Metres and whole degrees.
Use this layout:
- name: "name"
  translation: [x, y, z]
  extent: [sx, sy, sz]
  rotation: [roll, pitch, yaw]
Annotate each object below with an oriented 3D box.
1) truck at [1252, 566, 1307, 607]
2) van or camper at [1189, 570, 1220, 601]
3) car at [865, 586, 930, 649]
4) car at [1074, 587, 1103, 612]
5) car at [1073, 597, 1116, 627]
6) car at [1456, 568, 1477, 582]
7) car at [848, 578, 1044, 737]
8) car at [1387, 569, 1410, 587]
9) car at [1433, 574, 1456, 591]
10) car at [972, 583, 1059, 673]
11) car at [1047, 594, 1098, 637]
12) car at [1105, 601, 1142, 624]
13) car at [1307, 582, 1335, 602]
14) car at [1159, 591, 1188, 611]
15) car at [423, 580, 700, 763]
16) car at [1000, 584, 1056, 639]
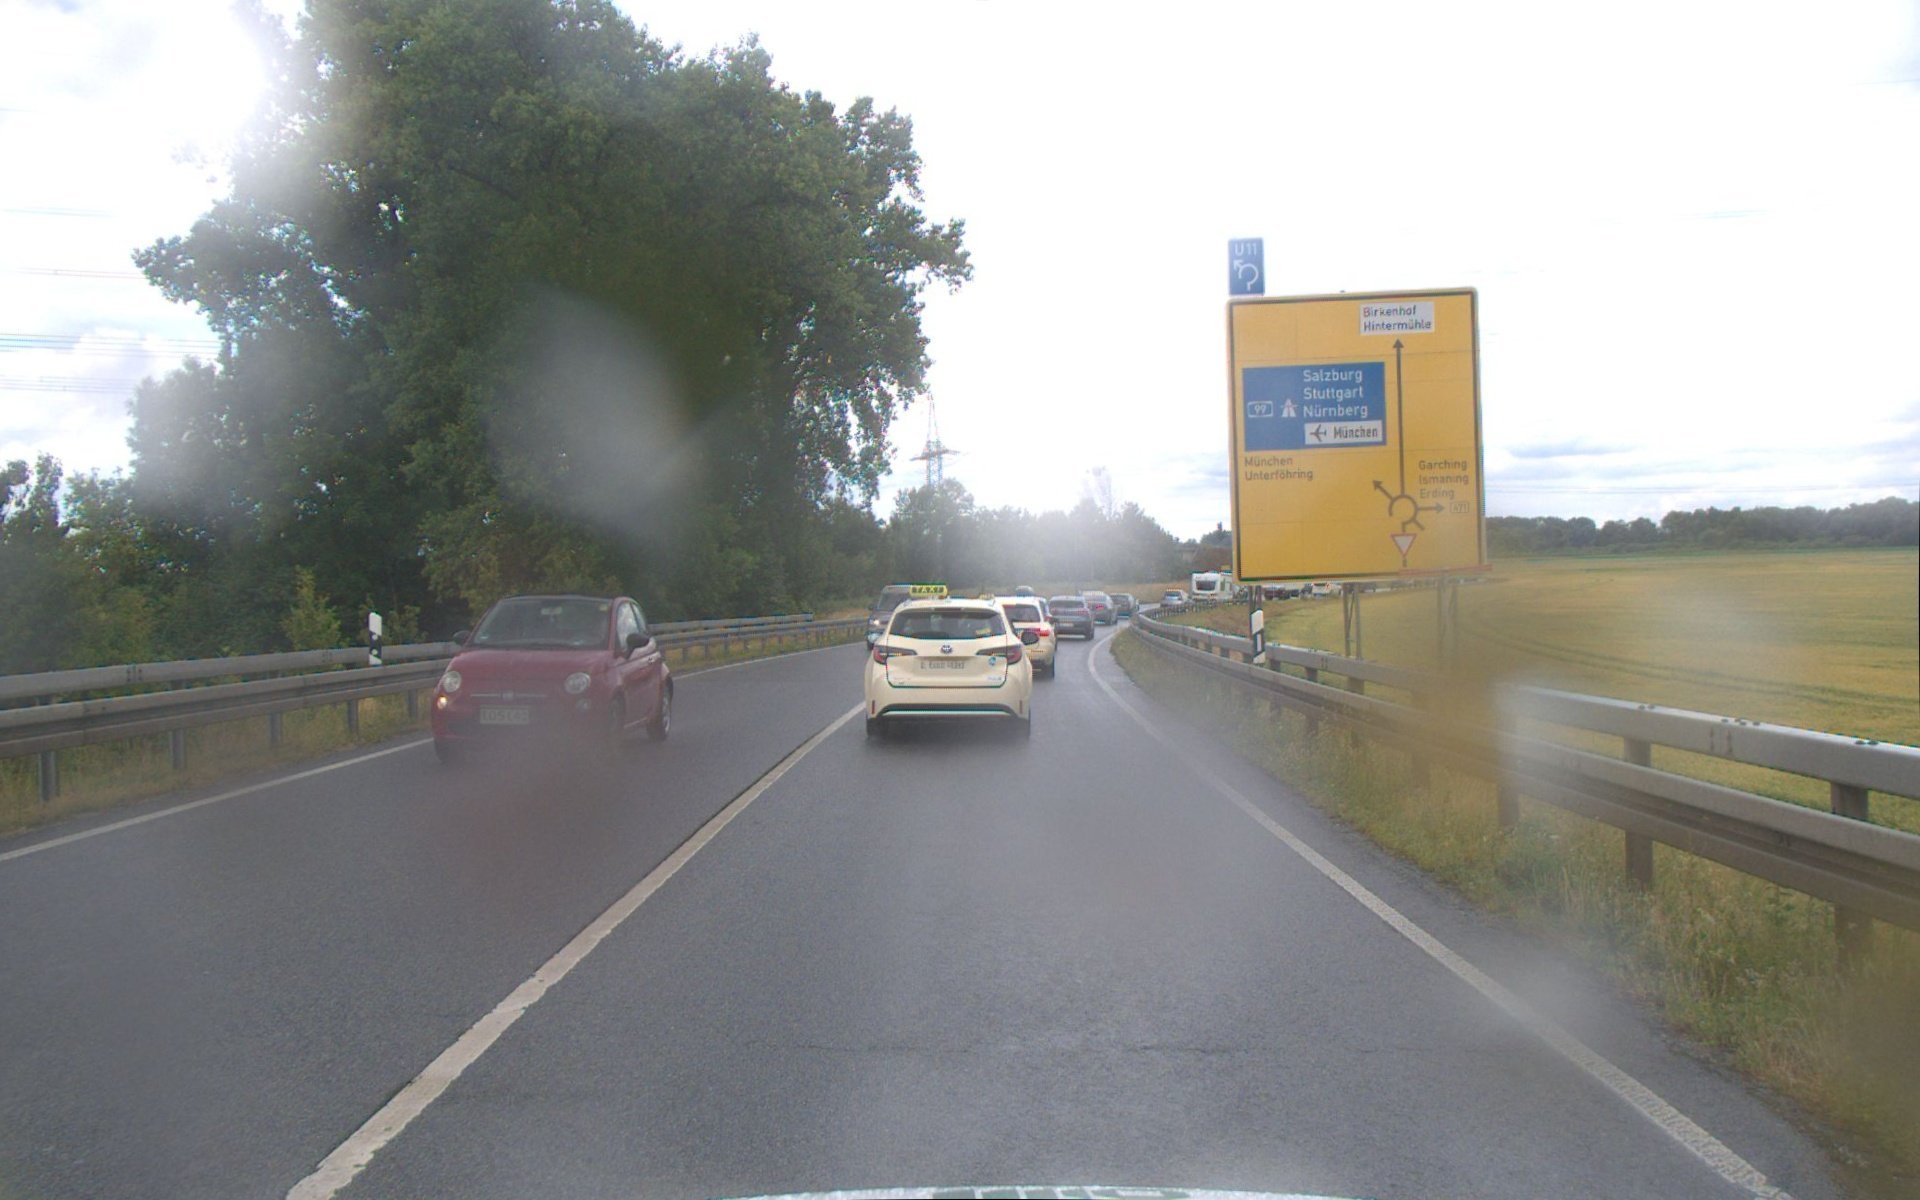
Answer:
- name: "truck"
  translation: [30.131, -1.229, 155.725]
  extent: [3.079, 3.624, 7.511]
  rotation: [0, -1, 28]
- name: "van or camper"
  translation: [19.142, -1.121, 129.373]
  extent: [1.951, 2.293, 4.002]
  rotation: [0, -1, 15]
- name: "car"
  translation: [-1.744, 0.497, 46.865]
  extent: [1.488, 1.702, 3.807]
  rotation: [0, -1, 3]
- name: "car"
  translation: [9.153, -0.006, 117.595]
  extent: [1.485, 1.751, 3.423]
  rotation: [0, -1, 15]
- name: "car"
  translation: [6.687, 0.601, 81.935]
  extent: [1.625, 1.434, 3.907]
  rotation: [0, -1, 12]
- name: "car"
  translation: [72.651, -3.604, 237.183]
  extent: [1.733, 2.049, 3.983]
  rotation: [0, 1, 37]
- name: "car"
  translation: [-0.035, 0.573, 18.345]
  extent: [1.866, 1.564, 4.163]
  rotation: [0, 0, 4]
- name: "car"
  translation: [52.142, -2.592, 196.624]
  extent: [2.181, 2.049, 3.998]
  rotation: [0, -1, 23]
- name: "car"
  translation: [63.465, -2.284, 216.644]
  extent: [1.958, 2.049, 3.989]
  rotation: [0, -1, 32]
- name: "car"
  translation: [1.092, 0.499, 31.310]
  extent: [1.545, 1.600, 3.682]
  rotation: [0, 0, 3]
- name: "car"
  translation: [4.017, 0.530, 58.785]
  extent: [1.630, 1.490, 3.479]
  rotation: [0, 0, 7]
- name: "car"
  translation: [9.511, 0.721, 95.972]
  extent: [1.451, 1.332, 3.478]
  rotation: [0, 0, 17]
- name: "car"
  translation: [37.468, -0.801, 171.593]
  extent: [2.123, 2.049, 3.997]
  rotation: [0, -1, 25]
- name: "car"
  translation: [14.867, 0.072, 114.902]
  extent: [1.451, 1.332, 3.479]
  rotation: [0, 0, 17]
- name: "car"
  translation: [-3.682, 0.581, 15.964]
  extent: [1.576, 1.512, 4.001]
  rotation: [-1, 1, 2]
- name: "car"
  translation: [1.897, 0.320, 45.631]
  extent: [1.474, 1.462, 3.357]
  rotation: [0, 0, 3]
